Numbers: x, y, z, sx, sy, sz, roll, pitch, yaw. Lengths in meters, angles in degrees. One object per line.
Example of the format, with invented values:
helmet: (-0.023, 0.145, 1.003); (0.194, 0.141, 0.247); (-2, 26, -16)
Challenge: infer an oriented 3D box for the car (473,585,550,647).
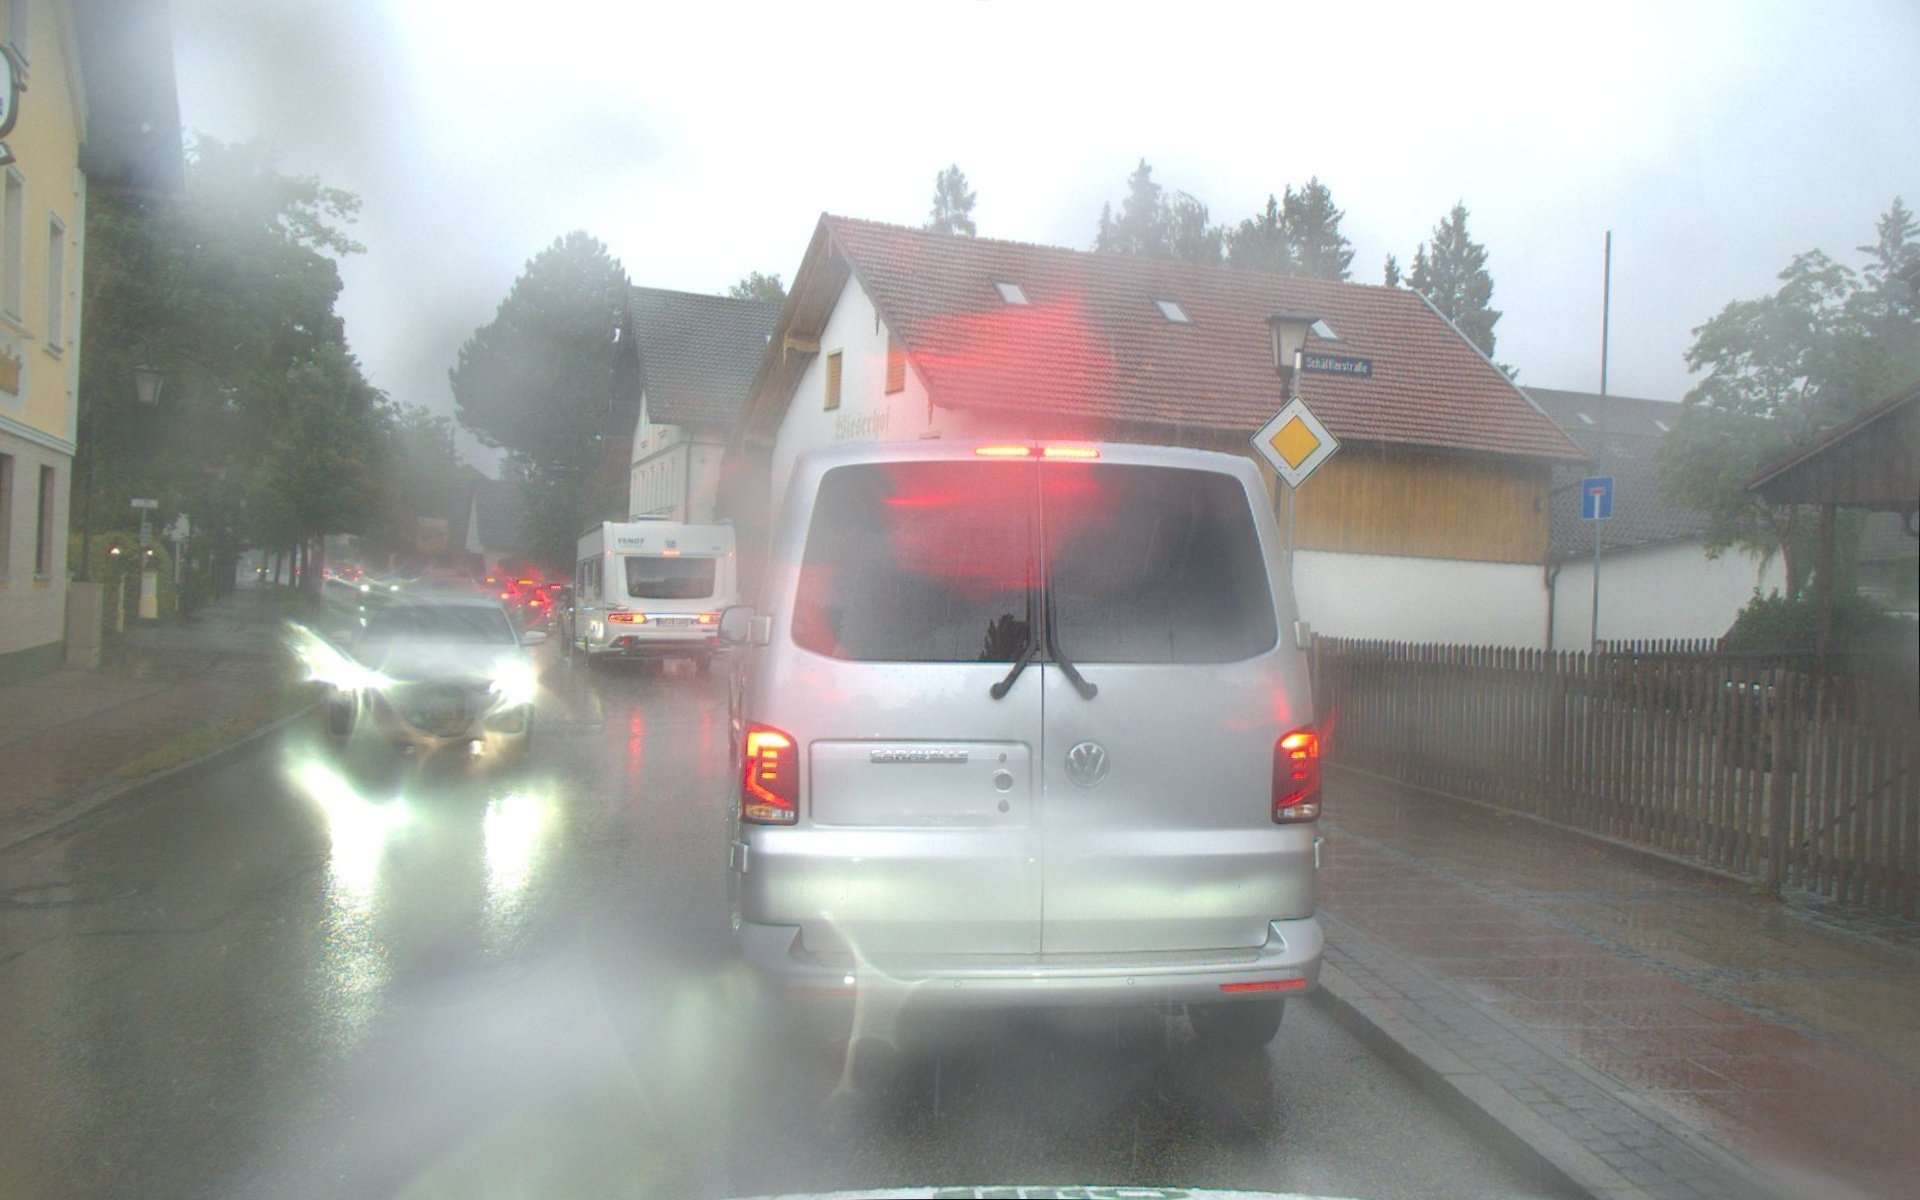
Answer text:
car: (-15.827, 0.538, 58.183); (2.137, 1.932, 4.985); (3, 0, -20)

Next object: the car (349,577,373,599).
car: (-50.646, -1.036, 139.966); (1.834, 1.788, 4.458); (-2, 1, -19)

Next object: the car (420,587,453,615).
car: (-39.970, 0.044, 126.163); (2.137, 1.932, 4.985); (3, 0, -20)

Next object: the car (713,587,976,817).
car: (-1.176, 0.717, 14.420); (1.678, 1.611, 4.672); (-1, 1, -12)

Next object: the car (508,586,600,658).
car: (-12.407, 0.625, 50.305); (2.137, 1.932, 4.985); (3, 0, -20)

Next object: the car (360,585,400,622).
car: (-29.402, 0.147, 83.912); (1.834, 1.788, 4.458); (-2, 1, -19)

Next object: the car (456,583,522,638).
car: (-18.872, 0.382, 66.102); (2.137, 1.932, 4.985); (3, 0, -20)

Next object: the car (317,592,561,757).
car: (-5.030, 0.628, 16.522); (1.829, 1.382, 4.471); (0, 1, -11)

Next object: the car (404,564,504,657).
car: (-10.695, 0.177, 34.820); (1.834, 1.788, 4.459); (-2, 1, -18)

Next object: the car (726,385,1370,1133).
car: (0.083, 0.435, 7.015); (1.741, 1.997, 5.070); (1, 0, -4)

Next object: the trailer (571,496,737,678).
trailer: (-5.715, -0.210, 30.191); (2.235, 2.955, 6.102); (1, 0, -17)
